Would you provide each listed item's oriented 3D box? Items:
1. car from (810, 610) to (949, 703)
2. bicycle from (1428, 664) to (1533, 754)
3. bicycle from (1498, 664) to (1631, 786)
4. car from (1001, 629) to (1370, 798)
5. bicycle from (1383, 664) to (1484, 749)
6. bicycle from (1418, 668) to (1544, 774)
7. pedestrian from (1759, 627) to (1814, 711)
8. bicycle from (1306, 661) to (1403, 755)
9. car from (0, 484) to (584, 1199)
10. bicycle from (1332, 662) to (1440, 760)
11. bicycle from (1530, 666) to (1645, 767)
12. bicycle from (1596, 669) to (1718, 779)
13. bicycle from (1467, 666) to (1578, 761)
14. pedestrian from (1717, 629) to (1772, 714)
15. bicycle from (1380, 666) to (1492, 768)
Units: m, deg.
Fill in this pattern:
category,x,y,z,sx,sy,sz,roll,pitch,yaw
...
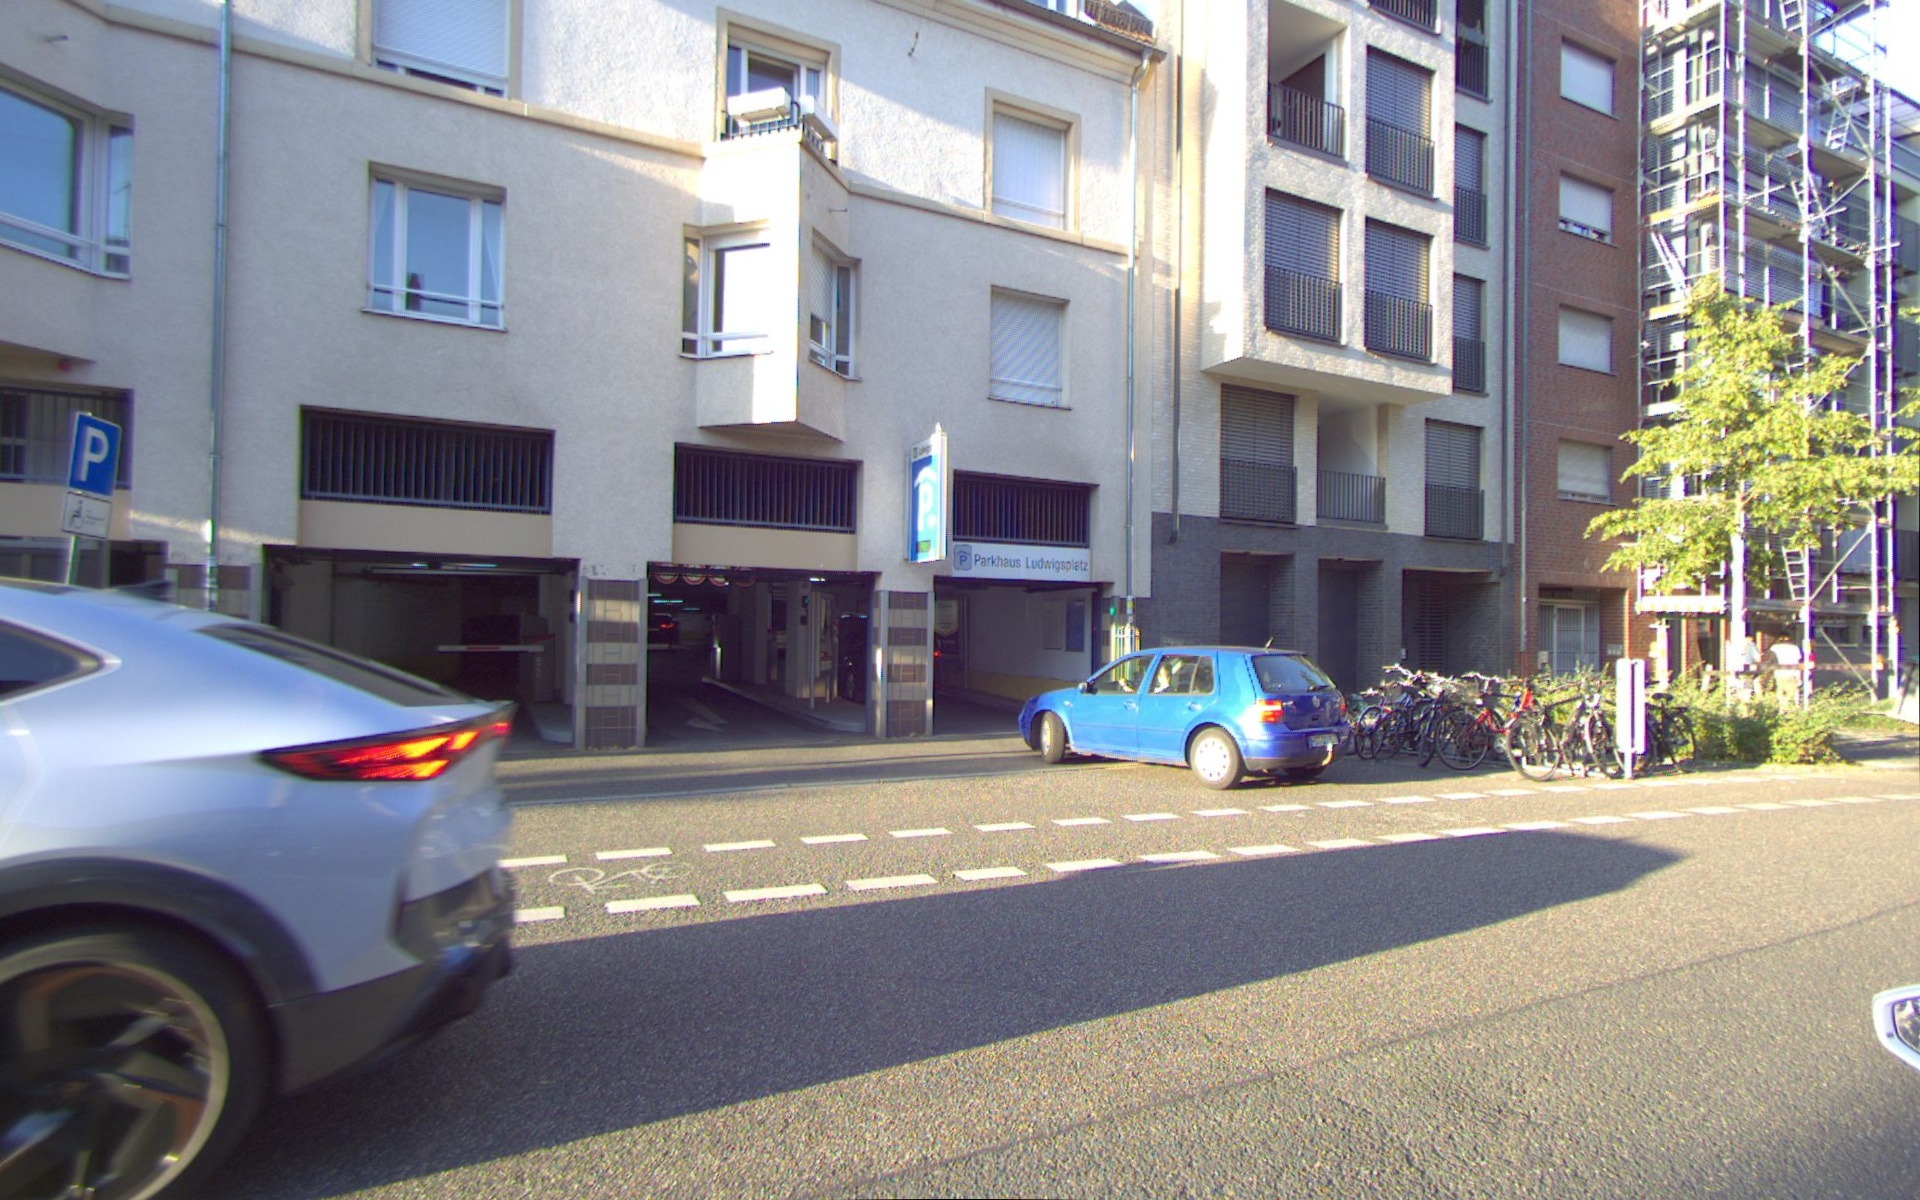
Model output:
category,x,y,z,sx,sy,sz,roll,pitch,yaw
car,-1.699,1.047,20.020,1.539,1.639,3.857,1,-1,-24
bicycle,7.129,1.471,13.751,1.532,1.159,0.465,2,-1,-27
bicycle,6.587,1.322,10.927,1.532,1.236,0.495,2,-1,-27
car,2.393,1.168,11.593,1.678,1.583,4.077,2,-3,-36
bicycle,6.779,1.500,14.357,1.532,1.147,0.455,2,-1,-27
bicycle,6.138,1.398,11.822,1.529,1.172,0.416,2,-1,-22
pedestrian,18.245,1.514,22.178,0.648,1.807,0.738,2,-2,-28
bicycle,5.303,1.428,13.489,1.387,1.199,0.385,2,-1,-27
car,-3.325,0.631,2.612,4.262,1.719,1.868,2,-4,-25
bicycle,5.517,1.408,12.993,1.532,1.205,0.385,2,-1,-27
bicycle,7.784,1.415,12.447,1.532,1.178,0.485,2,-1,-27
bicycle,8.143,1.412,11.727,1.532,1.194,0.505,2,-1,-27
bicycle,7.332,1.451,13.073,1.532,1.165,0.485,2,-1,-27
pedestrian,17.160,1.546,21.977,0.648,1.807,0.739,2,-2,-26
bicycle,5.836,1.409,12.301,1.532,1.175,0.379,2,-1,-27
